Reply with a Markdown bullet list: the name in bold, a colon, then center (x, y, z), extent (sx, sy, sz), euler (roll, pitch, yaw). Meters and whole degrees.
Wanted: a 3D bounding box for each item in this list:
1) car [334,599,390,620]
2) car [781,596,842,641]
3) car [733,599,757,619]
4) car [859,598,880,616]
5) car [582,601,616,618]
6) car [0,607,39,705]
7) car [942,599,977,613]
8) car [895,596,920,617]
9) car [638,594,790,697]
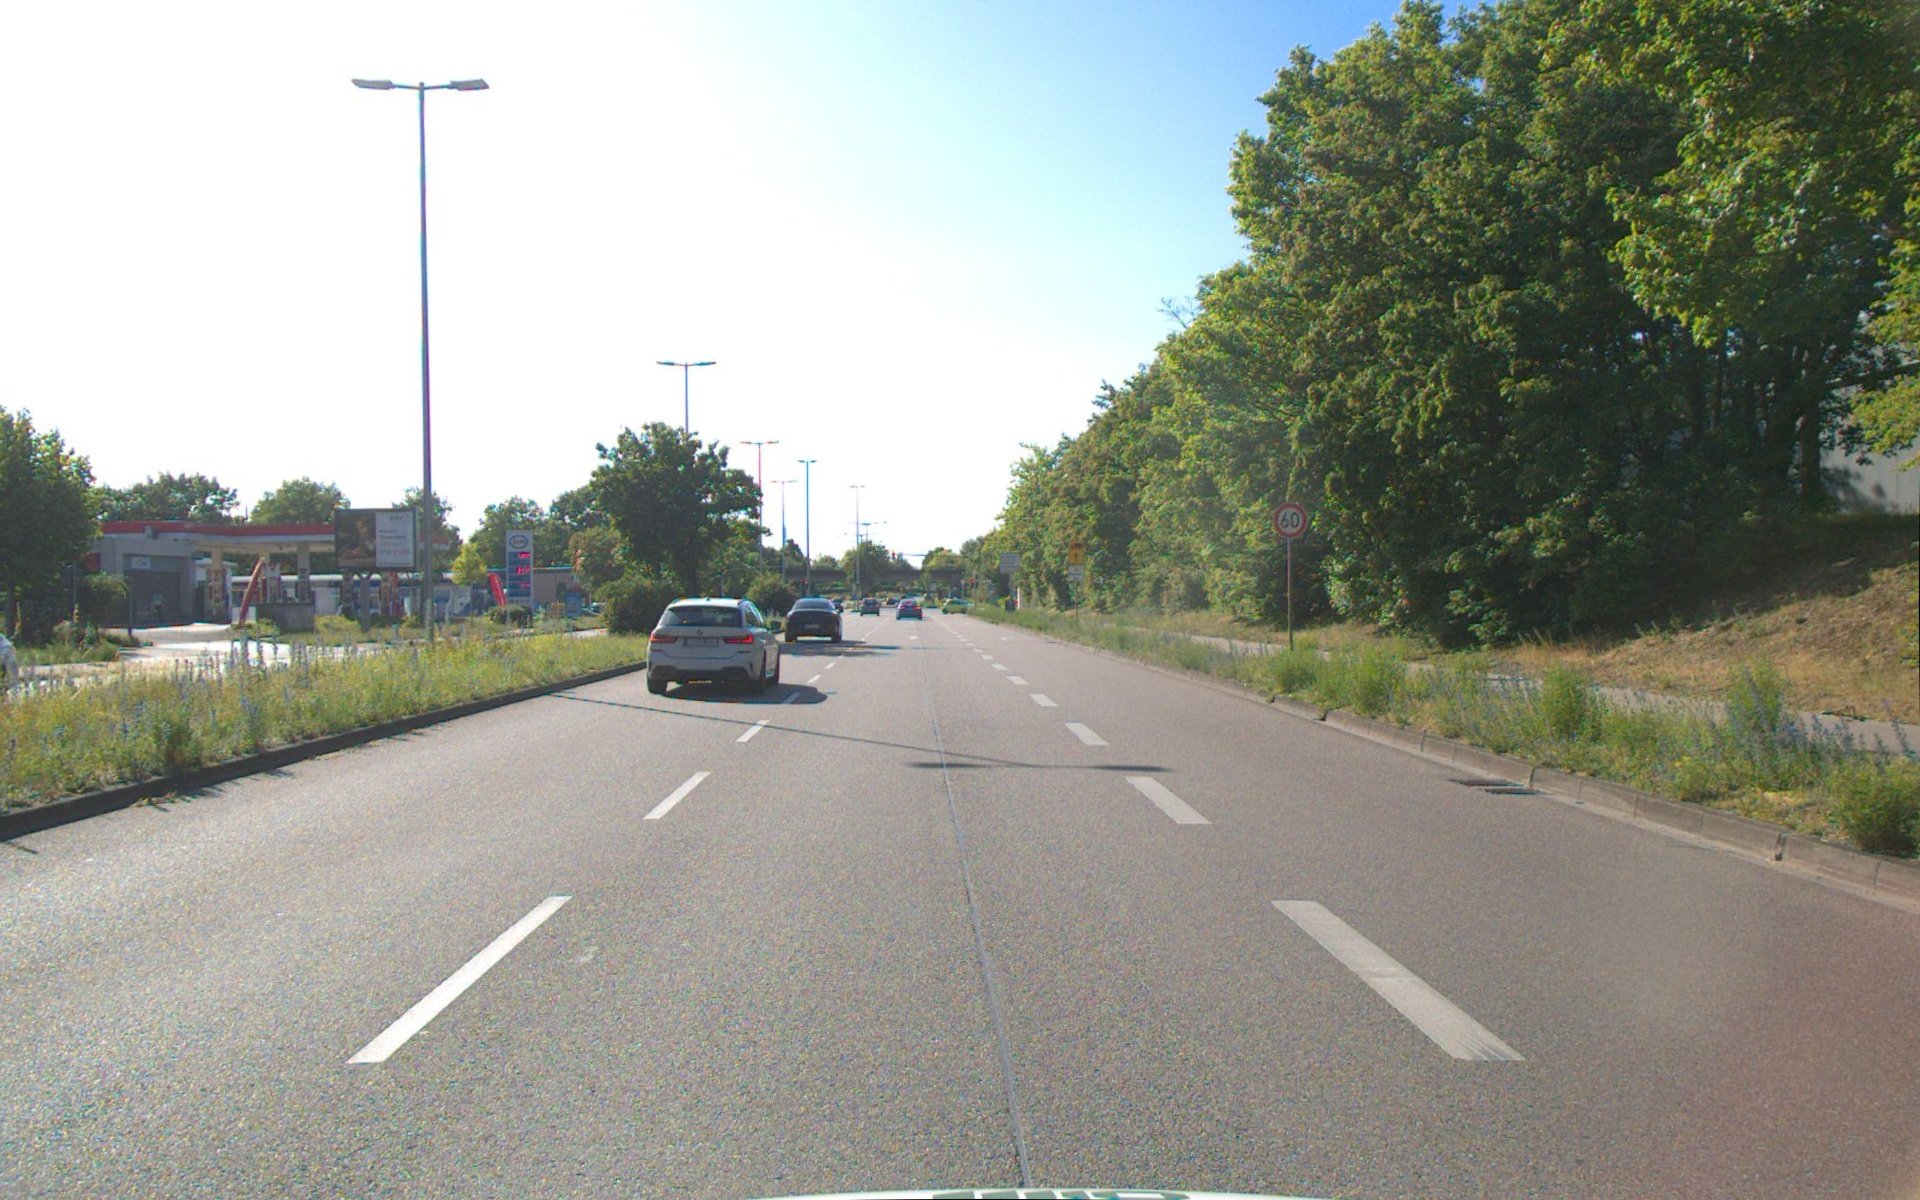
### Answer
- **car**: center (-53.812, 0.849, 148.822), extent (4.298, 1.875, 1.998), euler (-1, 0, -5)
- **car**: center (-5.045, 0.596, 56.653), extent (1.824, 1.480, 4.545), euler (0, 0, -2)
- **car**: center (-20.867, 0.896, 160.875), extent (1.704, 1.833, 4.670), euler (-3, 0, -2)
- **car**: center (-8.176, 0.578, 149.495), extent (1.824, 1.592, 4.545), euler (0, 0, -2)
- **car**: center (-41.021, 1.089, 187.899), extent (4.018, 1.814, 1.914), euler (-1, 0, 44)
- **car**: center (-16.248, 0.968, 25.362), extent (1.720, 1.547, 4.528), euler (-3, 1, -2)
- **car**: center (-0.047, 0.619, 172.323), extent (3.388, 1.421, 1.437), euler (0, 0, 31)
- **car**: center (-3.842, 0.477, 121.142), extent (1.824, 1.525, 4.334), euler (0, 0, -2)
- **car**: center (-3.880, 0.666, 26.761), extent (1.824, 1.480, 4.546), euler (1, 0, -1)
